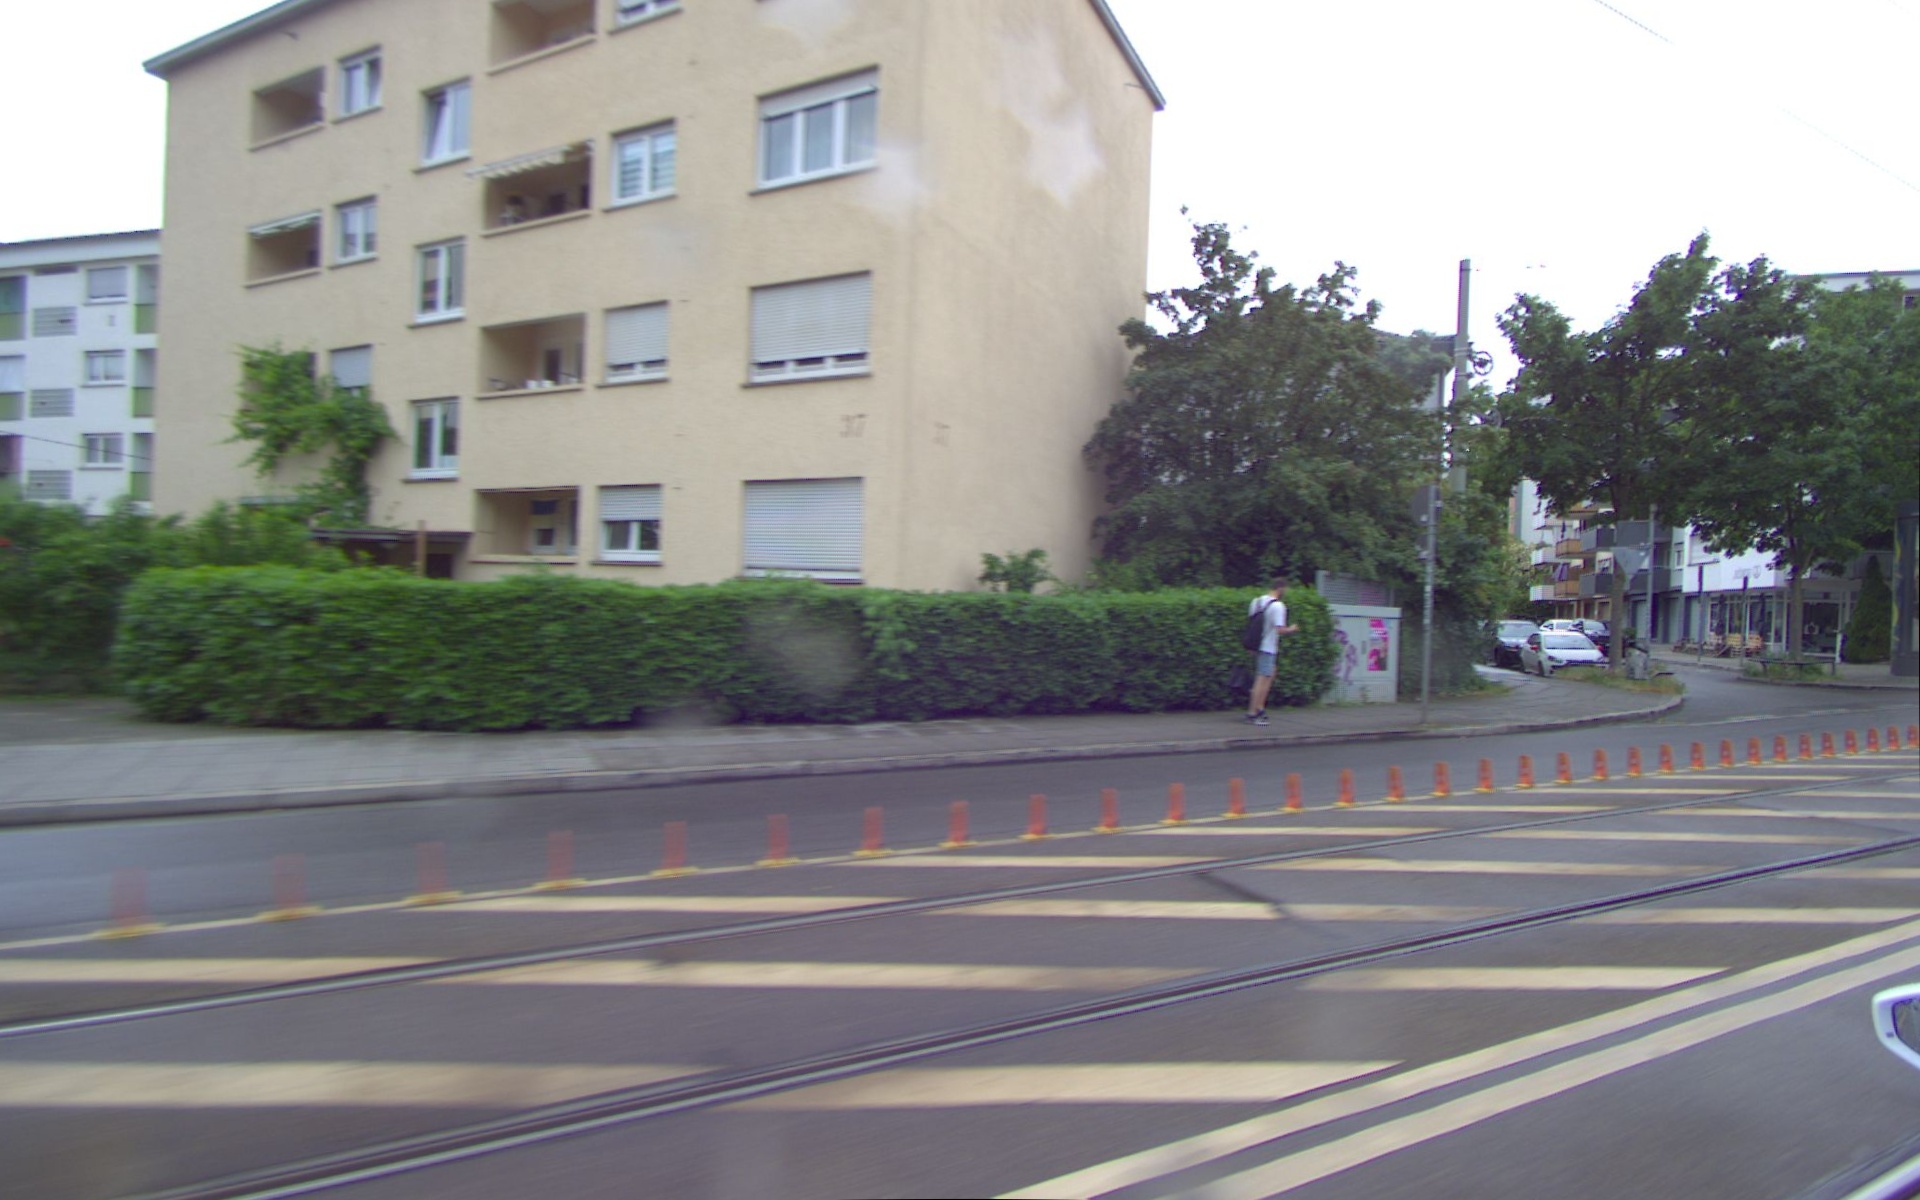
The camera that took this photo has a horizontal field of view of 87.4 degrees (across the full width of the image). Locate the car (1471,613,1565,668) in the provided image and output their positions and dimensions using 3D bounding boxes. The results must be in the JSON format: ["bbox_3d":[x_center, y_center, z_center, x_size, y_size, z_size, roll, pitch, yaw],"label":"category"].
[{"bbox_3d":[19.850,1.381,35.938,1.805,1.728,4.642,2,0,15],"label":"car"}]

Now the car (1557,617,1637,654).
[{"bbox_3d":[29.393,1.602,46.508,1.960,1.538,4.002,3,0,15],"label":"car"}]

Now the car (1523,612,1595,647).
[{"bbox_3d":[31.057,1.499,52.250,1.960,1.617,4.675,3,0,15],"label":"car"}]

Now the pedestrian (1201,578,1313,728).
[{"bbox_3d":[3.944,0.676,13.346,1.006,1.870,0.913,2,2,-33],"label":"pedestrian"}]

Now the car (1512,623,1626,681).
[{"bbox_3d":[18.405,1.512,30.570,1.960,1.500,4.161,3,0,18],"label":"car"}]
